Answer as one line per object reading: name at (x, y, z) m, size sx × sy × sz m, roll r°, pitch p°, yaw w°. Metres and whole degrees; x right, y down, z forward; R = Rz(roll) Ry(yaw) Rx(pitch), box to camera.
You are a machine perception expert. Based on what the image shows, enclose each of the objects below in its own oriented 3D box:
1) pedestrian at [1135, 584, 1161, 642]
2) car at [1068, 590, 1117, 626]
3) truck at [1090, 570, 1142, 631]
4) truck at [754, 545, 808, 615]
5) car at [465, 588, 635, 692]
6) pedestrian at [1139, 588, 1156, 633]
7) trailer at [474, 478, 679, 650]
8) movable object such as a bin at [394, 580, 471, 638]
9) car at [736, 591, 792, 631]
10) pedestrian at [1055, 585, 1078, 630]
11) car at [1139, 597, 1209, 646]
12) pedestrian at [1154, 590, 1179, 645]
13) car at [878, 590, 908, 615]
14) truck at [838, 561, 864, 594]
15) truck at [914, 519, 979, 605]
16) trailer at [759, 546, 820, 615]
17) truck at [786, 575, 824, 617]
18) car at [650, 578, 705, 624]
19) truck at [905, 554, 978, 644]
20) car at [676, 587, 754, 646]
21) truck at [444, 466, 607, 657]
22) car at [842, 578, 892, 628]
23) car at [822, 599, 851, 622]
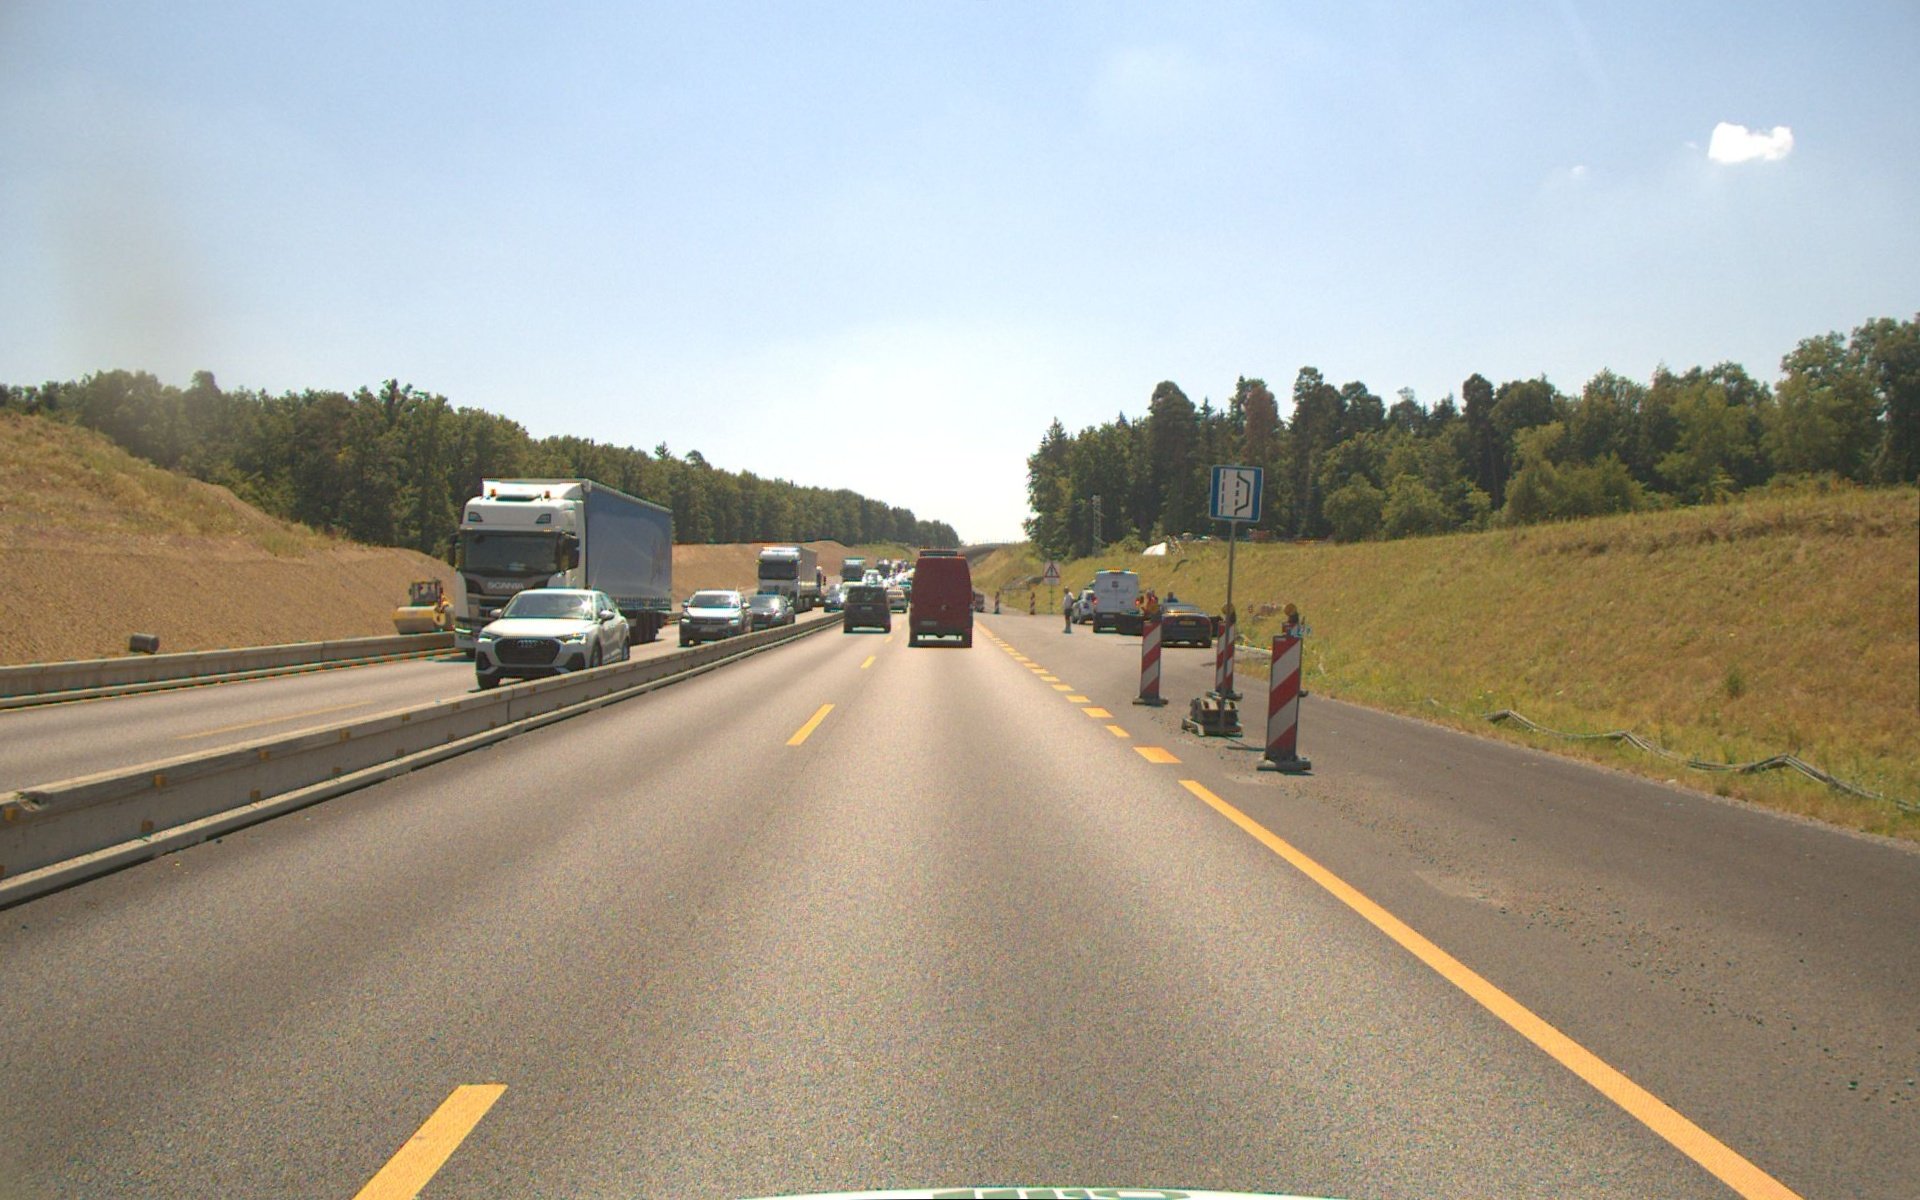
pedestrian at (6.091, 0.426, 53.544) m, size 0.631 × 1.860 × 0.555 m, roll 1°, pitch 0°, yaw -22°
car at (6.849, 0.386, 85.620) m, size 1.740 × 1.706 × 4.851 m, roll 2°, pitch 1°, yaw -5°
truck at (6.803, -0.004, 71.932) m, size 2.085 × 2.500 × 5.929 m, roll 1°, pitch 1°, yaw 6°
truck at (-10.890, -1.194, 101.092) m, size 2.712 × 4.115 × 4.942 m, roll 1°, pitch -1°, yaw 0°
car at (-6.510, 0.620, 26.719) m, size 1.771 × 1.514 × 4.241 m, roll 1°, pitch -1°, yaw -2°
pedestrian at (7.703, 0.441, 68.063) m, size 0.552 × 1.827 × 0.667 m, roll 1°, pitch -1°, yaw -3°
trailer at (-10.235, -0.847, 46.009) m, size 2.599 × 4.007 × 13.993 m, roll 1°, pitch 0°, yaw -1°
movable object such as a bin at (-30.587, 0.457, 96.168) m, size 2.124 × 3.163 × 7.164 m, roll -2°, pitch 1°, yaw 0°
car at (-7.440, 0.429, 63.082) m, size 1.694 × 1.411 × 4.858 m, roll 1°, pitch -1°, yaw -2°
pedestrian at (4.412, 0.307, 68.418) m, size 0.711 × 1.860 × 0.717 m, roll 1°, pitch -1°, yaw -15°
car at (6.922, 0.666, 53.961) m, size 1.620 × 1.451 × 4.544 m, roll -2°, pitch 1°, yaw -1°
pedestrian at (7.120, 0.598, 57.069) m, size 0.613 × 1.860 × 0.640 m, roll 1°, pitch 0°, yaw -13°
car at (-4.378, 0.165, 108.503) m, size 1.794 × 1.549 × 3.960 m, roll 1°, pitch -1°, yaw -1°
truck at (-13.202, -2.645, 200.719) m, size 2.457 × 3.680 × 9.639 m, roll 1°, pitch -1°, yaw 0°
truck at (-1.031, -2.544, 119.872) m, size 4.311 × 5.592 × 16.598 m, roll 1°, pitch -1°, yaw -1°
trailer at (-10.994, -1.261, 107.837) m, size 2.734 × 4.146 × 13.707 m, roll 1°, pitch 0°, yaw -1°
truck at (-11.874, -0.285, 126.974) m, size 2.350 × 3.112 × 5.061 m, roll 1°, pitch -1°, yaw 0°
car at (-12.223, 0.048, 71.758) m, size 1.682 × 1.908 × 3.999 m, roll 1°, pitch -1°, yaw -1°
truck at (-0.571, -0.006, 51.494) m, size 2.109 × 2.635 × 5.332 m, roll 1°, pitch -1°, yaw -1°
car at (-6.977, 0.445, 47.474) m, size 1.740 × 1.582 × 4.137 m, roll -1°, pitch 0°, yaw -2°
truck at (-10.060, -0.855, 38.806) m, size 2.539 × 4.124 × 5.148 m, roll 1°, pitch 0°, yaw -2°
car at (-3.627, 0.091, 65.117) m, size 1.716 × 1.856 × 4.781 m, roll 1°, pitch 0°, yaw -1°
car at (-8.029, 0.697, 108.073) m, size 1.692 × 1.411 × 4.482 m, roll 1°, pitch -1°, yaw -2°
